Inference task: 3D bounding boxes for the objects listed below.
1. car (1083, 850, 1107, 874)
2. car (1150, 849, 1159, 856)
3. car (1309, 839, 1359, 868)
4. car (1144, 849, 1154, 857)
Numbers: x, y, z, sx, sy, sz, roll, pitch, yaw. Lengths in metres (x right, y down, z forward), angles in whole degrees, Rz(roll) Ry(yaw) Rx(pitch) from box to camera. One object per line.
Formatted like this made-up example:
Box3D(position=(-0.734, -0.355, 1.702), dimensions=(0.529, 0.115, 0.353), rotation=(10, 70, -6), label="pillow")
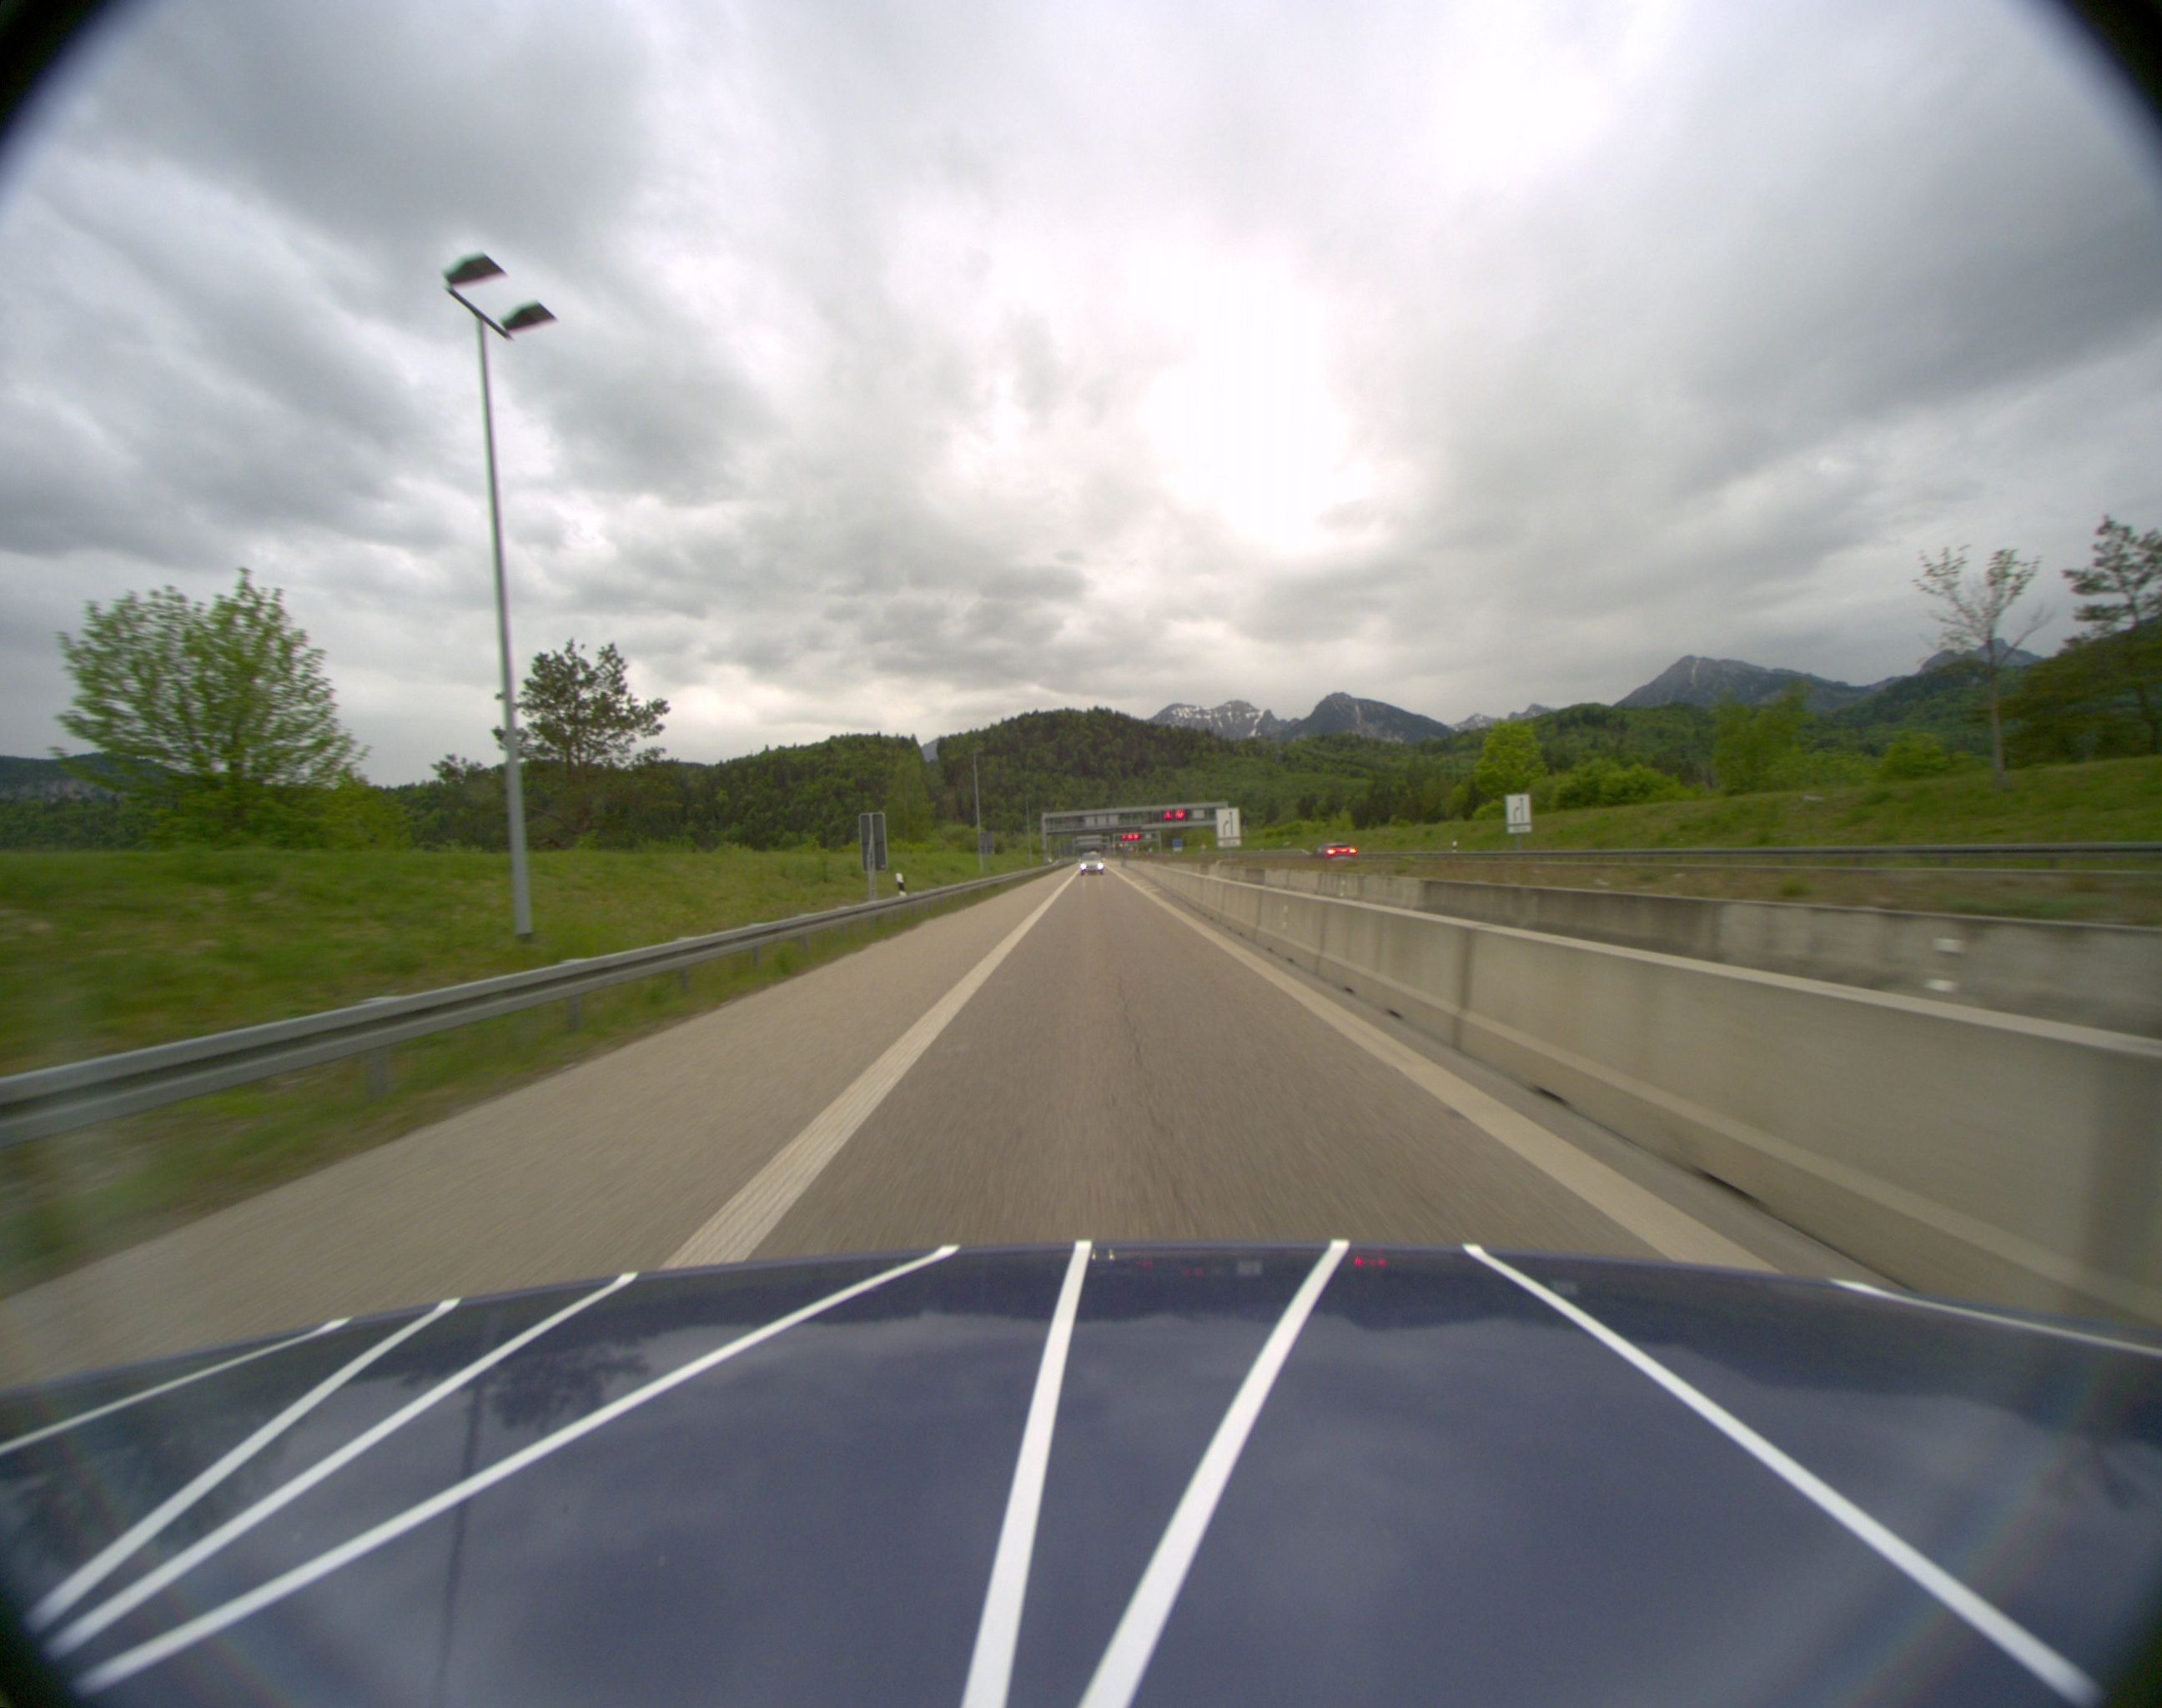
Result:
Box3D(position=(1.199, 0.640, 64.718), dimensions=(1.922, 1.871, 5.138), rotation=(-2, 1, 2), label="car")
Box3D(position=(19.222, -0.431, 199.346), dimensions=(1.772, 1.598, 4.405), rotation=(-3, 0, 1), label="car")
Box3D(position=(15.484, -0.036, 46.737), dimensions=(1.706, 1.565, 4.177), rotation=(-3, 0, 1), label="car")
Box3D(position=(16.073, -0.237, 179.368), dimensions=(1.883, 1.726, 5.751), rotation=(-3, 0, 1), label="car")
